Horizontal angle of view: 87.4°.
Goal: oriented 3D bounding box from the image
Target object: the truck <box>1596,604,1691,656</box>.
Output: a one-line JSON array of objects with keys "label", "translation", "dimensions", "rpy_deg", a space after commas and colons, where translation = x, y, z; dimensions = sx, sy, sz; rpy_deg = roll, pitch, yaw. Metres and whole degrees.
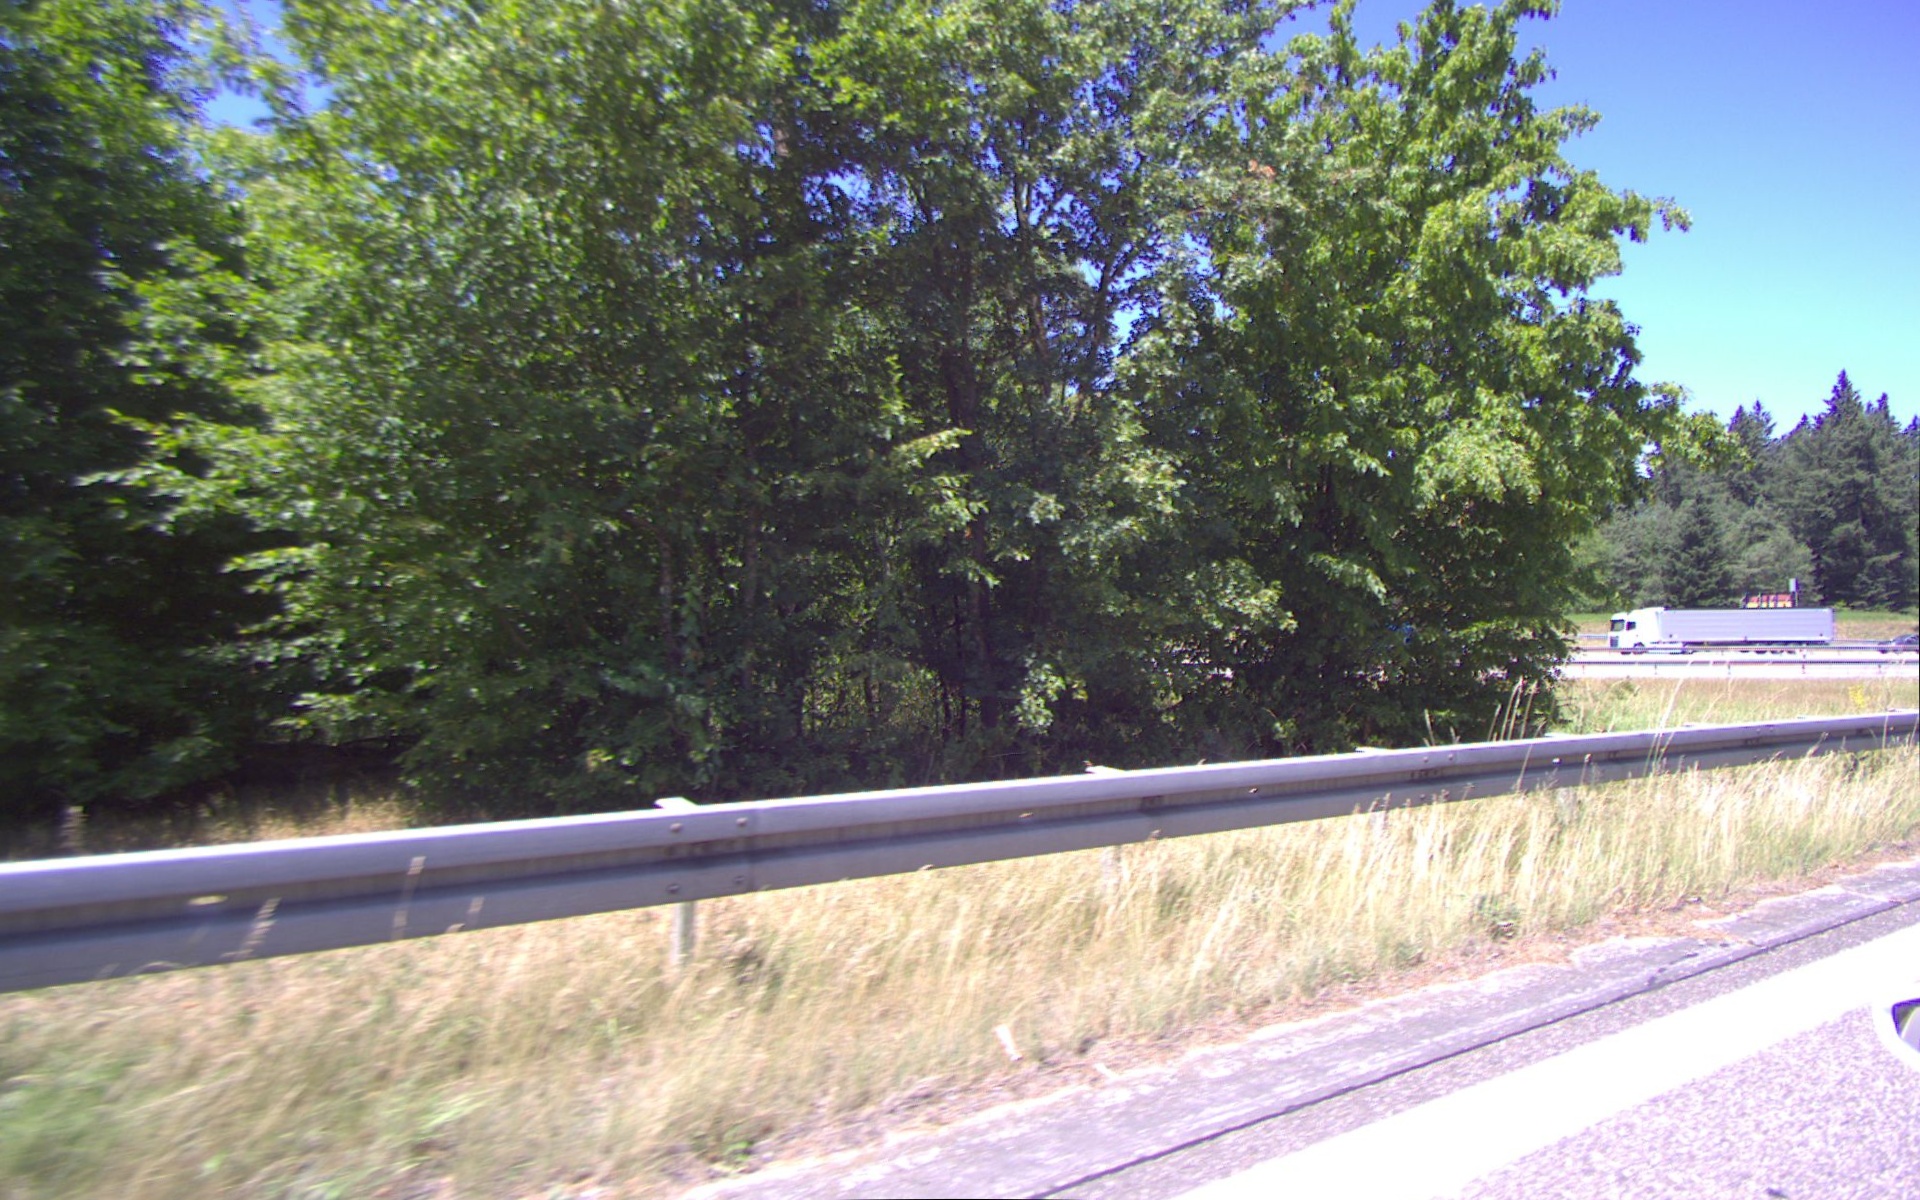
[{"label": "truck", "translation": [60.264, 2.689, 88.699], "dimensions": [6.144, 4.450, 2.951], "rpy_deg": [0, -2, 8]}]

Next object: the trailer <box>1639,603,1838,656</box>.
[{"label": "trailer", "translation": [67.642, 2.615, 87.608], "dimensions": [14.006, 4.444, 2.937], "rpy_deg": [-1, -2, 9]}]
